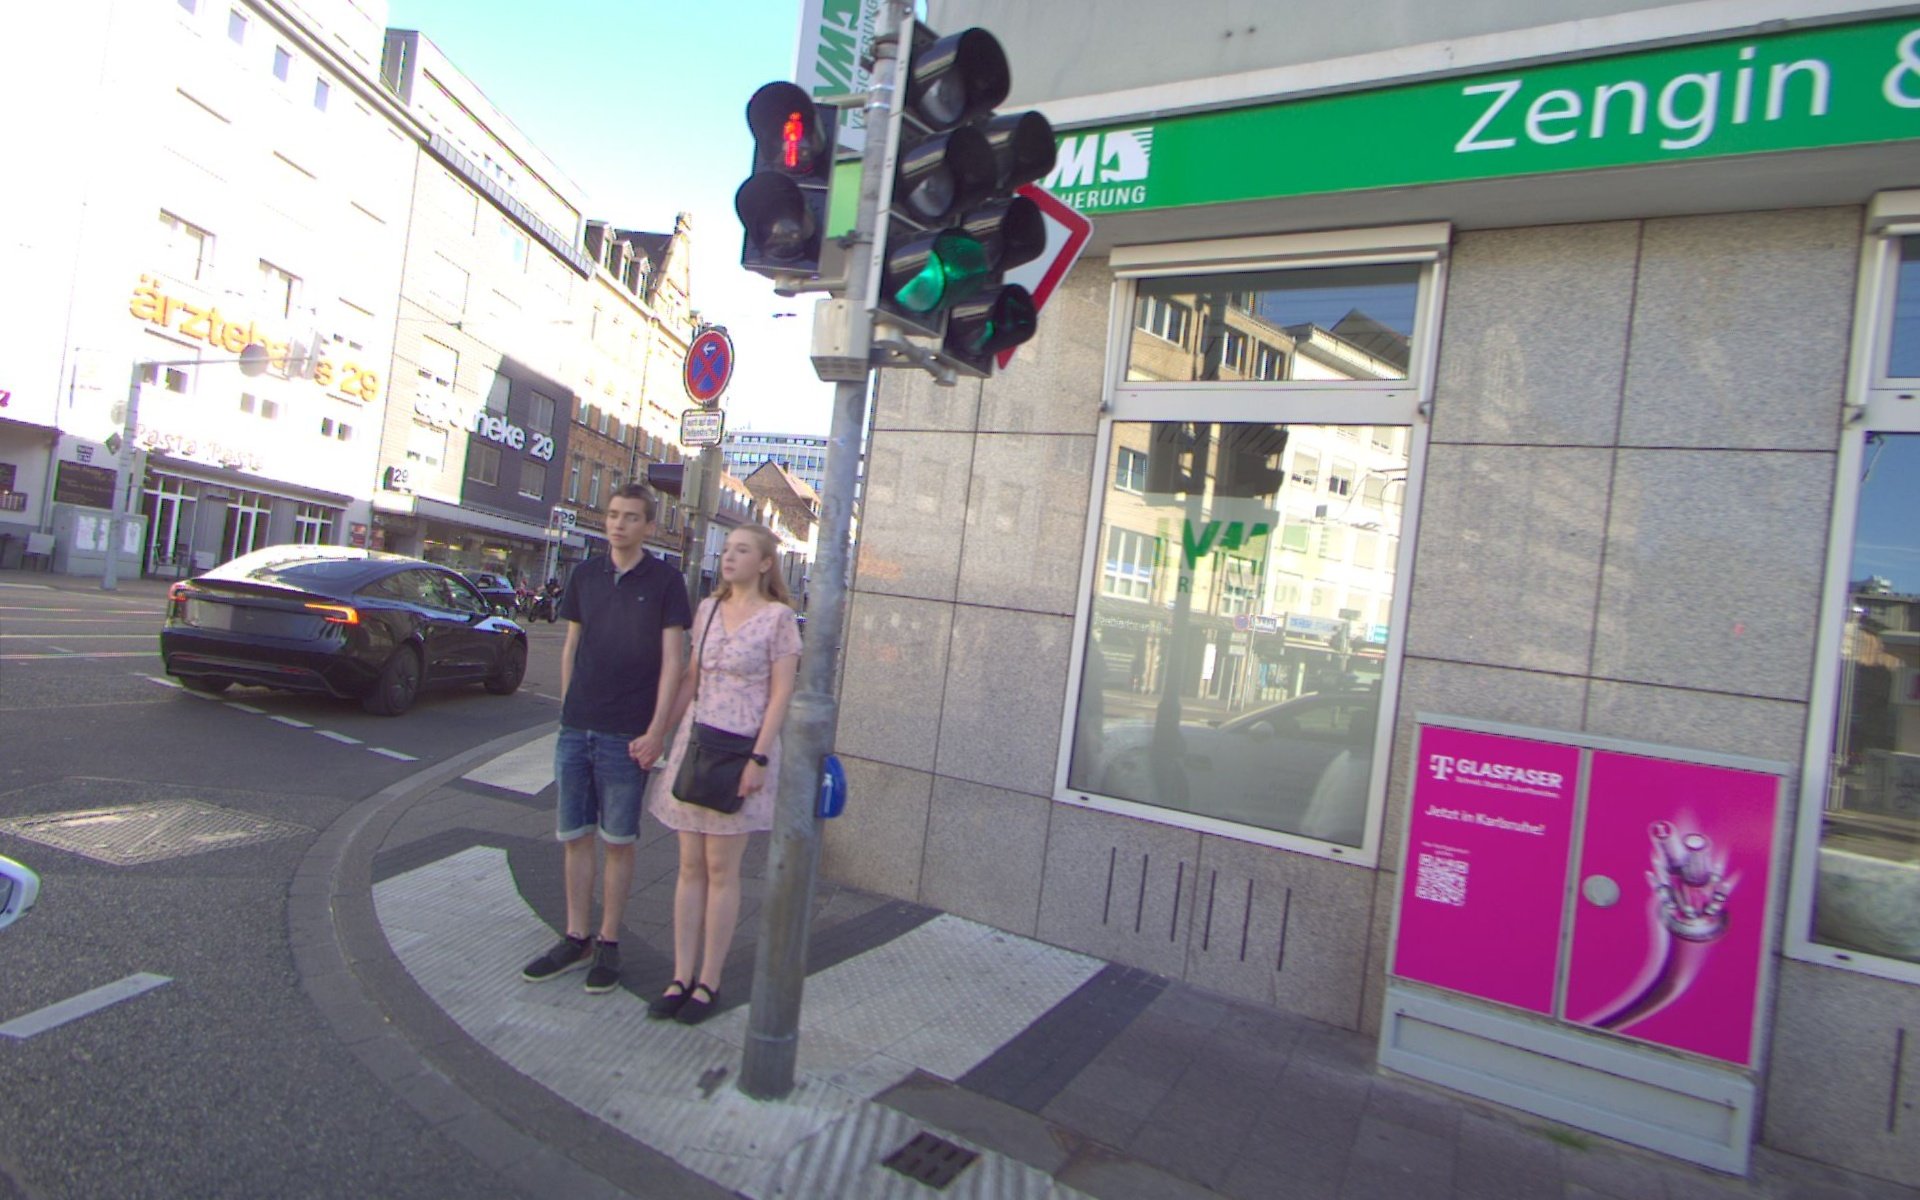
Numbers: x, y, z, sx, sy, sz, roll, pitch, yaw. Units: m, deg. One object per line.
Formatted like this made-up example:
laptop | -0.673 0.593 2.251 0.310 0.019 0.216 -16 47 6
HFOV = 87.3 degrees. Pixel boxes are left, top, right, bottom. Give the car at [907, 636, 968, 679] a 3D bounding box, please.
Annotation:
car | -0.854 2.363 41.485 1.818 1.479 4.308 6 -2 7

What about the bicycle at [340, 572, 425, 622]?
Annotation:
bicycle | -18.254 -0.071 31.842 2.071 1.237 0.774 9 -1 0

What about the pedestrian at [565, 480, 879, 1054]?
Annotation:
pedestrian | -0.821 0.529 3.555 0.638 1.779 0.574 7 -2 29

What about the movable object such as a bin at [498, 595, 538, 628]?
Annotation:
movable object such as a bin | -17.359 0.455 39.532 1.082 1.084 0.736 8 -1 5

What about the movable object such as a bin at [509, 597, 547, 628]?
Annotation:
movable object such as a bin | -17.289 0.497 40.254 1.082 1.075 0.699 8 -1 5

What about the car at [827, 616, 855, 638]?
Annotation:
car | -10.080 2.298 85.445 1.622 1.584 2.832 7 -2 5

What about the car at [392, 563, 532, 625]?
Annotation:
car | -14.579 -0.111 29.729 1.686 1.463 4.143 5 -2 5

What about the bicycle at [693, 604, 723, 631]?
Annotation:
bicycle | -14.138 1.001 56.433 0.739 1.307 2.028 10 -1 8

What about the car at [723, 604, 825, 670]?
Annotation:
car | -4.947 1.044 27.335 1.735 1.434 4.360 7 -3 1

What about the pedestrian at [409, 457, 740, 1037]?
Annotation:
pedestrian | -1.391 0.479 3.688 0.670 1.863 0.641 7 -1 29

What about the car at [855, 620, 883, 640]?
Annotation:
car | -8.765 2.935 96.992 1.860 1.612 4.268 6 -2 5

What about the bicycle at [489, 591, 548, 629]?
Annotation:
bicycle | -17.078 0.394 38.932 1.905 1.204 0.552 7 -1 1

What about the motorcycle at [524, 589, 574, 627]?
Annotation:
motorcycle | -14.085 0.300 34.525 0.561 1.132 2.120 6 -2 5

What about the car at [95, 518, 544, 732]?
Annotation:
car | -5.969 0.260 10.163 1.843 1.443 4.363 8 -2 -4

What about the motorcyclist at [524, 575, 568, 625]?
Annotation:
motorcyclist | -14.129 0.024 34.382 0.790 1.576 1.147 6 -2 6

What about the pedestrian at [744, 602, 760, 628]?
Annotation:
pedestrian | -15.072 1.107 72.841 0.604 1.796 0.719 7 -1 18

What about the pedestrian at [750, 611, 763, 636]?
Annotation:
pedestrian | -15.601 1.780 77.140 0.646 1.844 0.643 7 -1 -1

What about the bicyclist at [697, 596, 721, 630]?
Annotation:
bicyclist | -14.091 0.736 56.506 0.738 1.749 1.147 7 -2 6
